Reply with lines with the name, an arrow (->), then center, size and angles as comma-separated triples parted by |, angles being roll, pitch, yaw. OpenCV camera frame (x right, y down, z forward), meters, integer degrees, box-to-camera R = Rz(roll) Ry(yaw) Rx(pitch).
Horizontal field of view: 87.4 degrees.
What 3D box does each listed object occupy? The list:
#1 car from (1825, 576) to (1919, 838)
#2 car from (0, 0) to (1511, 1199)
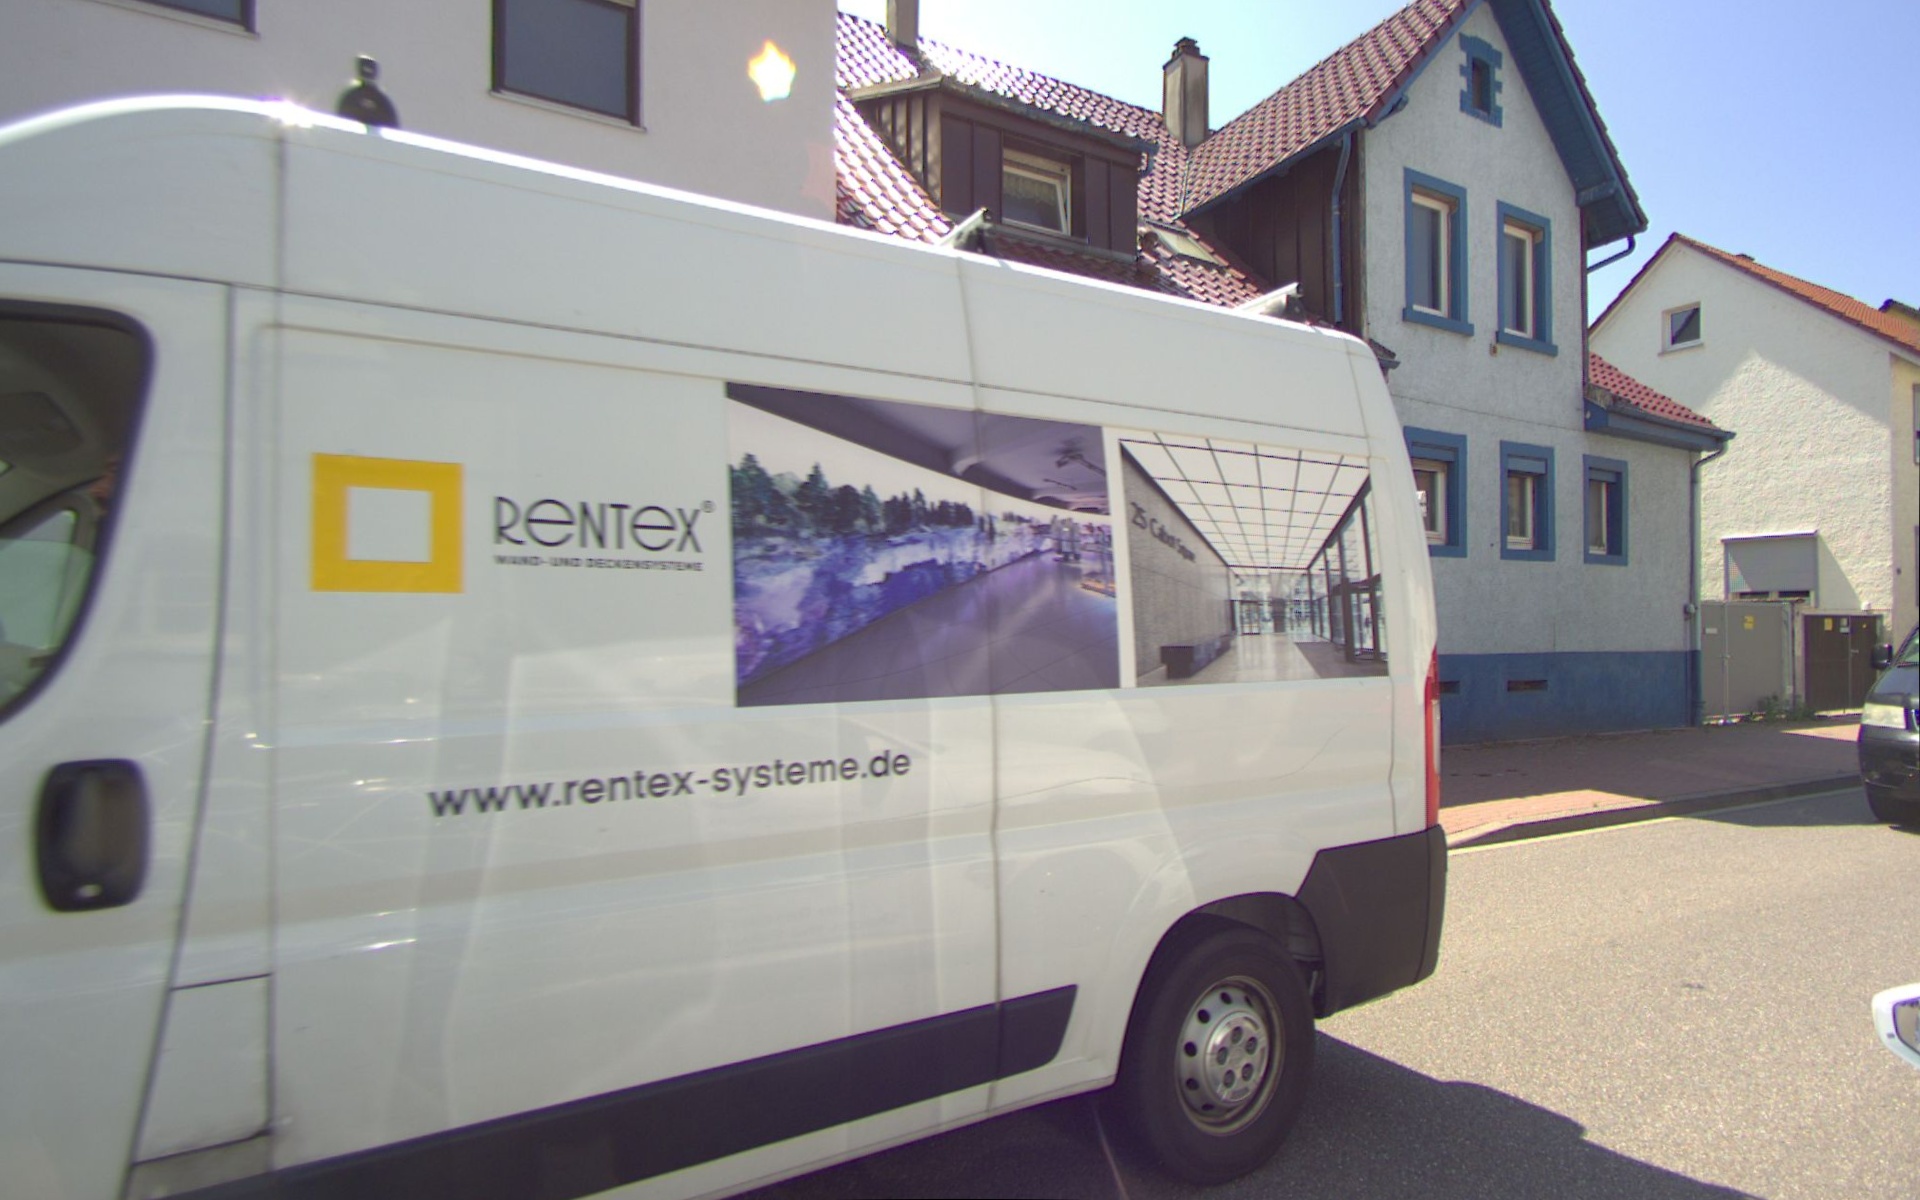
car -> 9.623, 0.835, 8.522 | 5.057, 1.969, 1.873 | 1, -3, -30
car -> -1.119, 0.288, 2.787 | 5.396, 2.575, 2.116 | 1, -3, -30
